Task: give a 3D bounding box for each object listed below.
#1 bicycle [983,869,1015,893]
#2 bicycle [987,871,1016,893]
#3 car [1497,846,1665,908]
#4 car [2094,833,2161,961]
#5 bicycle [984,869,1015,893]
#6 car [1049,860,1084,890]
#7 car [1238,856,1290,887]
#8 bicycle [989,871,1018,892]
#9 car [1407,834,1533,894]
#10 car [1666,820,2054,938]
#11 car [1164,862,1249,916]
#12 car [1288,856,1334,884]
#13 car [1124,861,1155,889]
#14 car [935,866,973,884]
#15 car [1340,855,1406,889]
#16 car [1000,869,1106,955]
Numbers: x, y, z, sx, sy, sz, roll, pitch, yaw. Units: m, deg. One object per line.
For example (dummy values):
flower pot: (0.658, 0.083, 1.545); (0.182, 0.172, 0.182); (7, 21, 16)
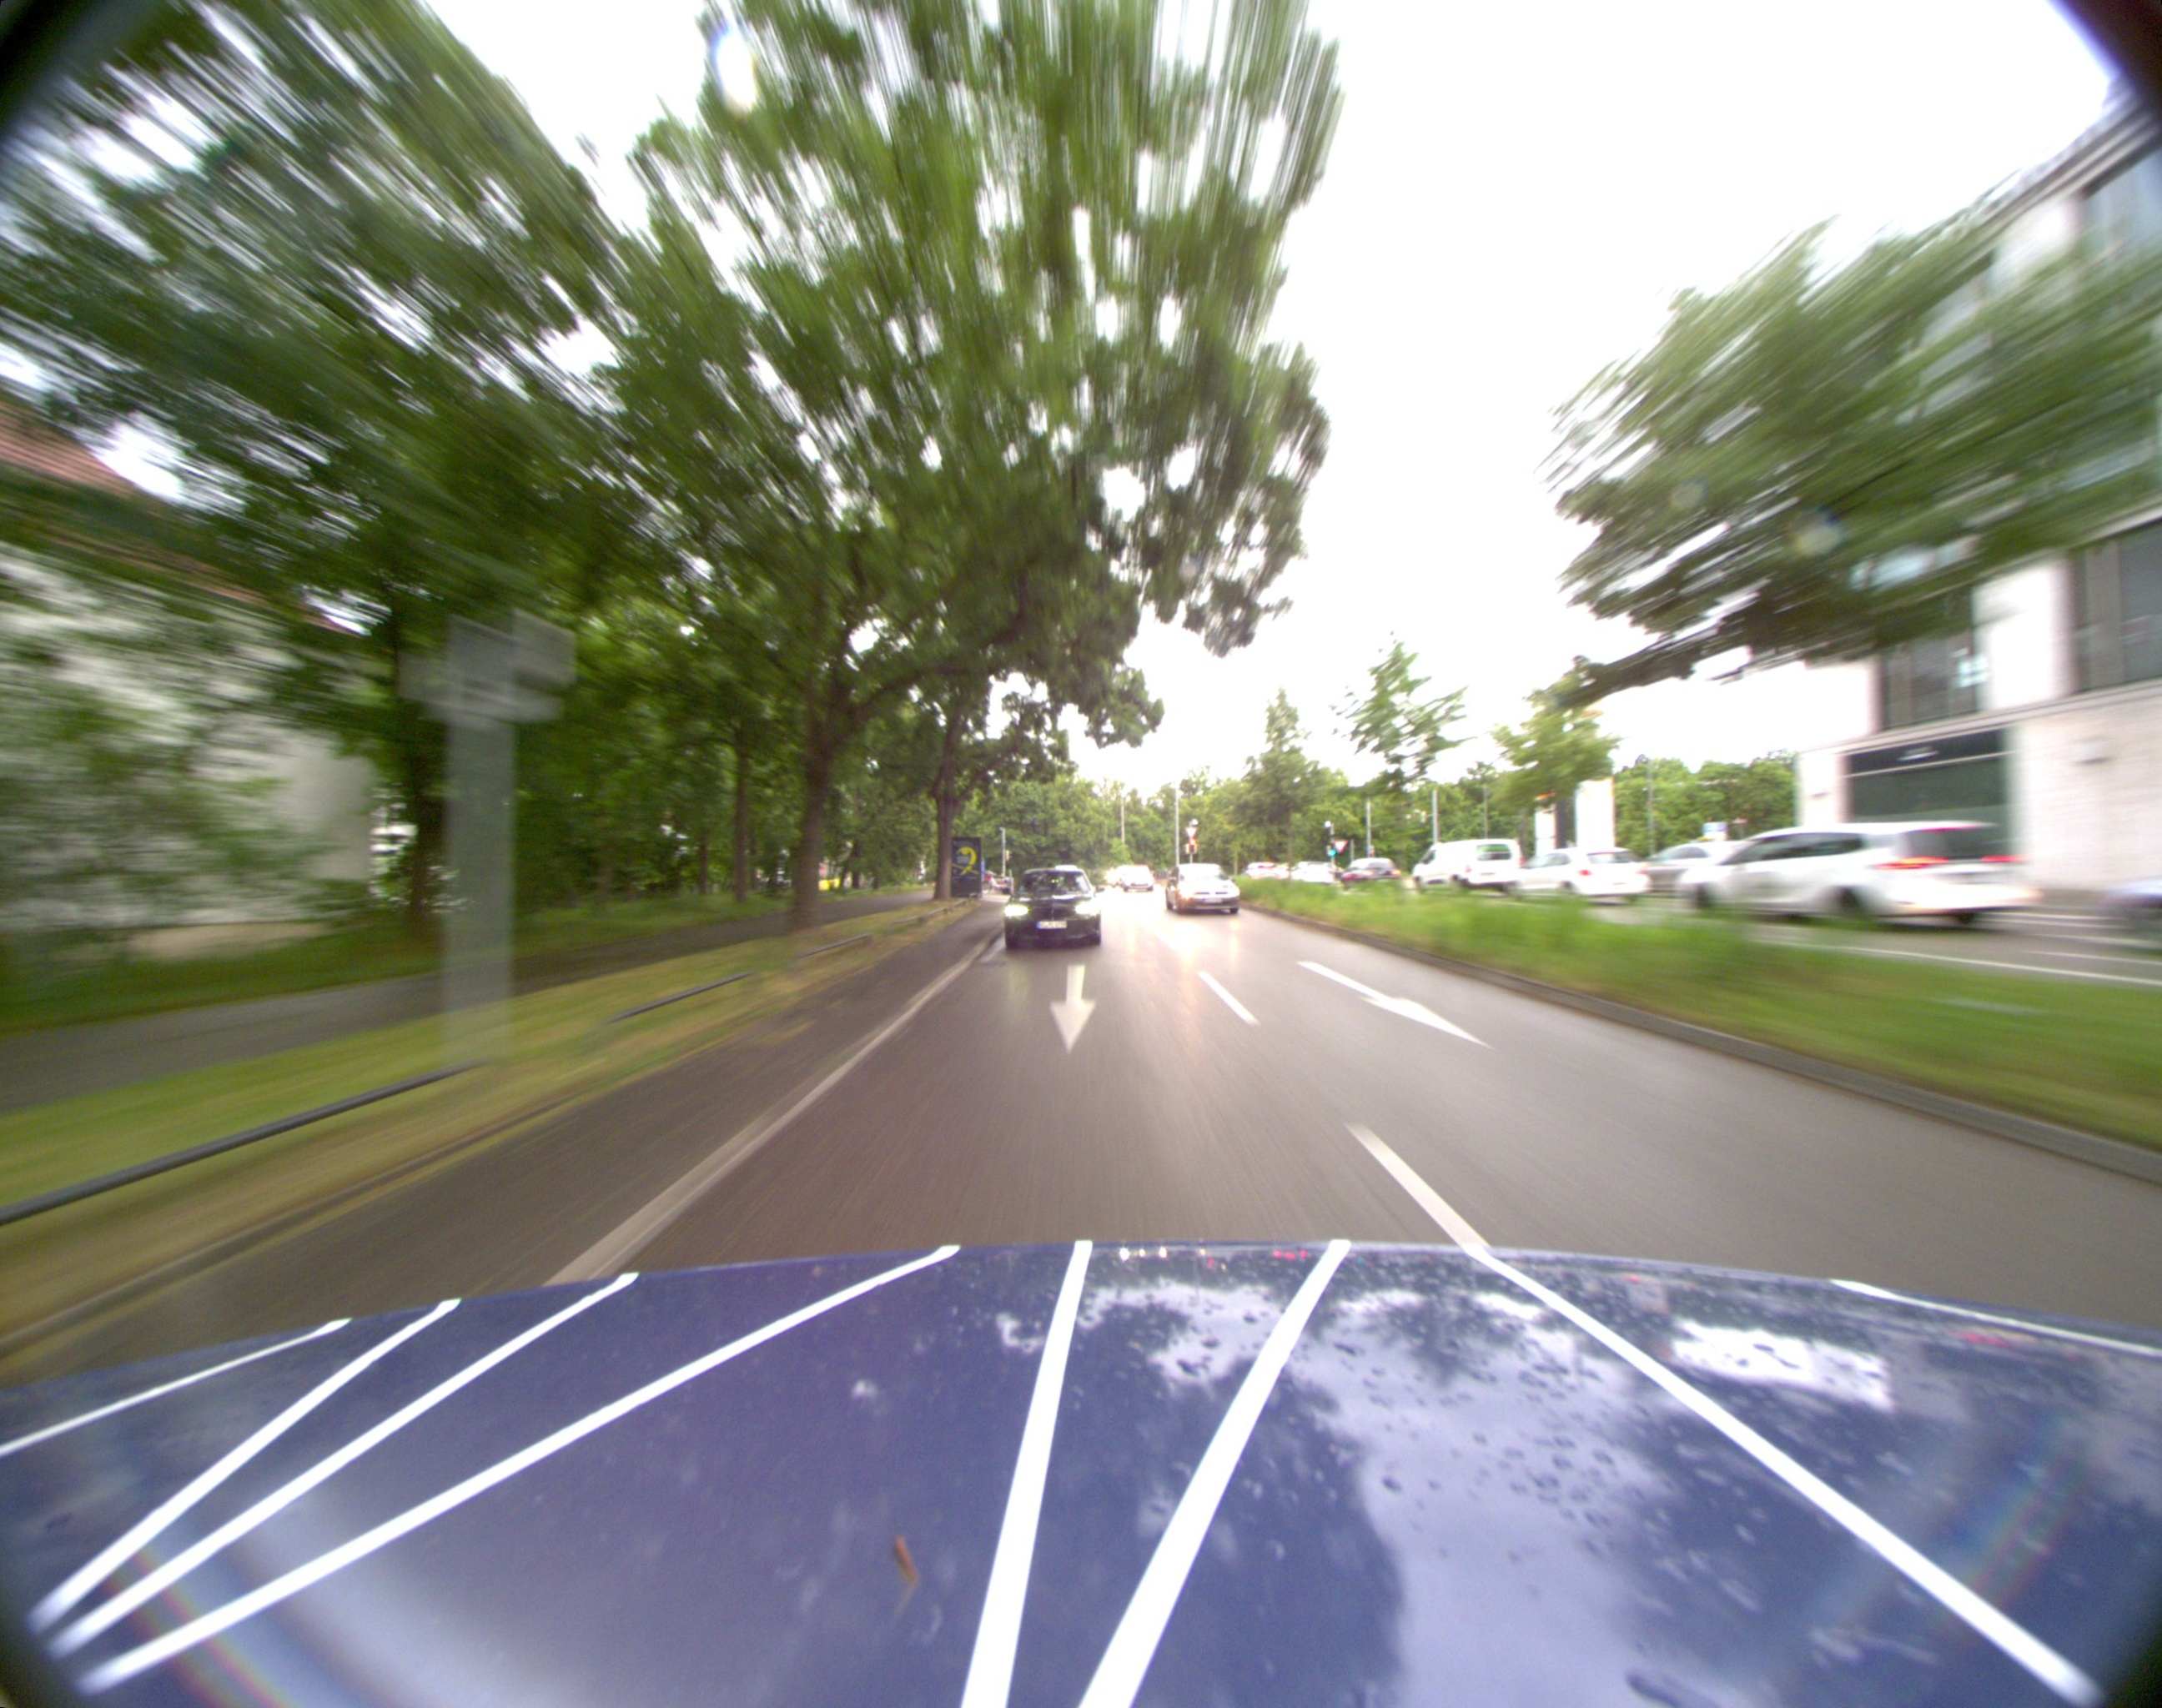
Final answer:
bicycle: (-3.920, 1.291, 36.591); (1.490, 1.124, 0.556); (2, 0, -5)
bicycle: (-4.187, 1.492, 40.176); (1.490, 1.124, 0.556); (2, 0, -5)
car: (12.893, 0.551, 19.939); (1.748, 1.459, 4.060); (0, 0, 0)
car: (12.604, 0.443, 6.849); (1.645, 1.402, 3.997); (0, -1, 1)
bicycle: (-4.003, 1.340, 37.543); (1.490, 1.124, 0.556); (2, 0, -5)
car: (-0.839, 1.167, 41.954); (1.645, 1.511, 3.579); (-2, -1, -5)
car: (10.227, 1.039, 42.806); (1.853, 1.565, 4.166); (-2, -3, 0)
bicycle: (-4.376, 1.542, 43.009); (1.600, 1.124, 0.556); (2, 0, -5)
car: (12.987, 0.401, 25.745); (1.848, 1.791, 4.775); (-2, -2, 1)
car: (12.607, 0.342, 12.879); (1.833, 1.591, 4.674); (-1, 0, 1)
car: (3.722, 0.994, 23.240); (1.904, 1.431, 4.000); (-2, 0, 0)
car: (13.514, 0.981, 44.826); (1.654, 1.566, 3.704); (0, -2, 2)
car: (3.410, 1.214, 43.779); (1.669, 1.520, 3.660); (-2, -2, 5)
car: (-15.105, 2.471, 90.266); (4.008, 2.001, 1.995); (0, -2, -45)
car: (13.148, 0.856, 34.419); (1.718, 1.451, 3.752); (0, -2, 3)
car: (-0.504, 1.055, 15.519); (1.804, 1.422, 4.520); (-2, -1, 0)
